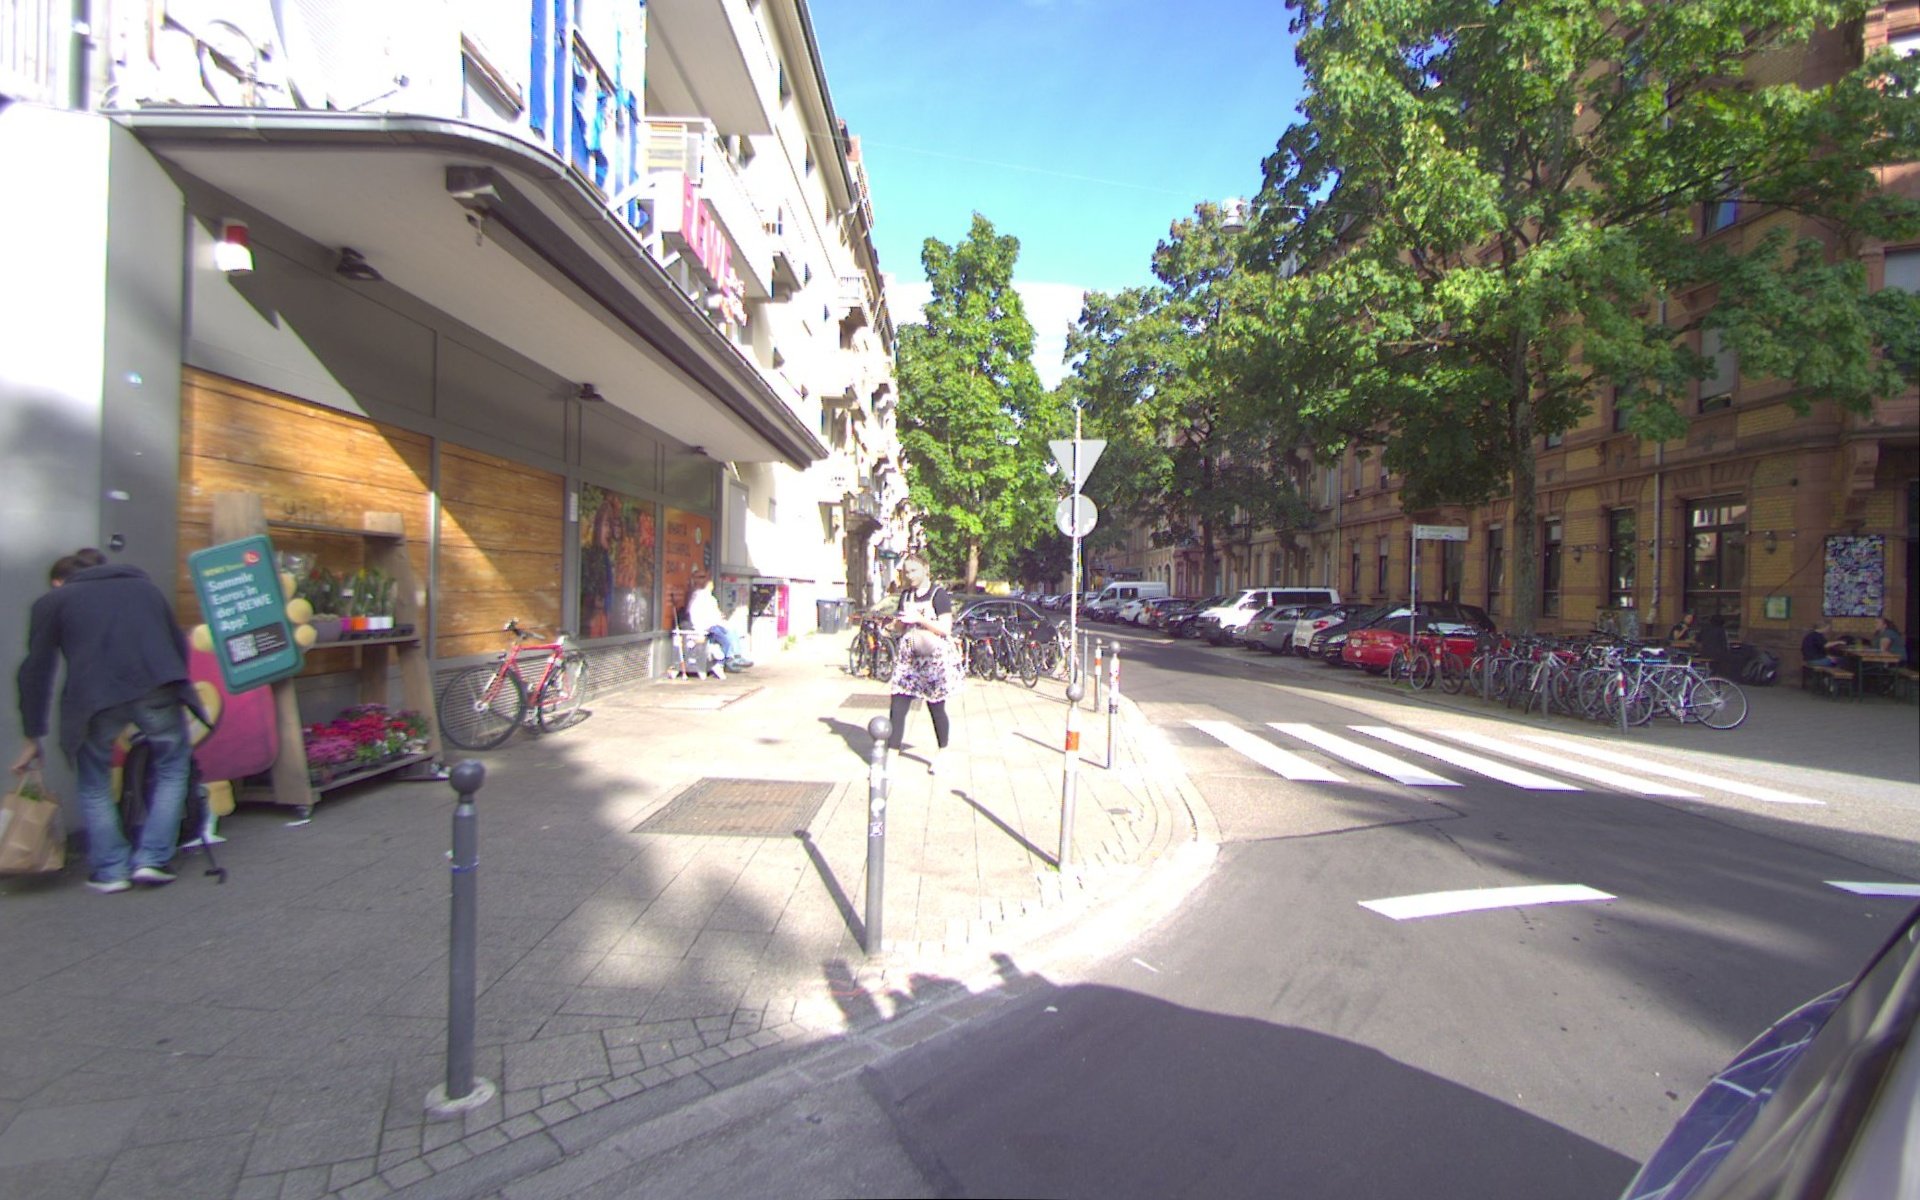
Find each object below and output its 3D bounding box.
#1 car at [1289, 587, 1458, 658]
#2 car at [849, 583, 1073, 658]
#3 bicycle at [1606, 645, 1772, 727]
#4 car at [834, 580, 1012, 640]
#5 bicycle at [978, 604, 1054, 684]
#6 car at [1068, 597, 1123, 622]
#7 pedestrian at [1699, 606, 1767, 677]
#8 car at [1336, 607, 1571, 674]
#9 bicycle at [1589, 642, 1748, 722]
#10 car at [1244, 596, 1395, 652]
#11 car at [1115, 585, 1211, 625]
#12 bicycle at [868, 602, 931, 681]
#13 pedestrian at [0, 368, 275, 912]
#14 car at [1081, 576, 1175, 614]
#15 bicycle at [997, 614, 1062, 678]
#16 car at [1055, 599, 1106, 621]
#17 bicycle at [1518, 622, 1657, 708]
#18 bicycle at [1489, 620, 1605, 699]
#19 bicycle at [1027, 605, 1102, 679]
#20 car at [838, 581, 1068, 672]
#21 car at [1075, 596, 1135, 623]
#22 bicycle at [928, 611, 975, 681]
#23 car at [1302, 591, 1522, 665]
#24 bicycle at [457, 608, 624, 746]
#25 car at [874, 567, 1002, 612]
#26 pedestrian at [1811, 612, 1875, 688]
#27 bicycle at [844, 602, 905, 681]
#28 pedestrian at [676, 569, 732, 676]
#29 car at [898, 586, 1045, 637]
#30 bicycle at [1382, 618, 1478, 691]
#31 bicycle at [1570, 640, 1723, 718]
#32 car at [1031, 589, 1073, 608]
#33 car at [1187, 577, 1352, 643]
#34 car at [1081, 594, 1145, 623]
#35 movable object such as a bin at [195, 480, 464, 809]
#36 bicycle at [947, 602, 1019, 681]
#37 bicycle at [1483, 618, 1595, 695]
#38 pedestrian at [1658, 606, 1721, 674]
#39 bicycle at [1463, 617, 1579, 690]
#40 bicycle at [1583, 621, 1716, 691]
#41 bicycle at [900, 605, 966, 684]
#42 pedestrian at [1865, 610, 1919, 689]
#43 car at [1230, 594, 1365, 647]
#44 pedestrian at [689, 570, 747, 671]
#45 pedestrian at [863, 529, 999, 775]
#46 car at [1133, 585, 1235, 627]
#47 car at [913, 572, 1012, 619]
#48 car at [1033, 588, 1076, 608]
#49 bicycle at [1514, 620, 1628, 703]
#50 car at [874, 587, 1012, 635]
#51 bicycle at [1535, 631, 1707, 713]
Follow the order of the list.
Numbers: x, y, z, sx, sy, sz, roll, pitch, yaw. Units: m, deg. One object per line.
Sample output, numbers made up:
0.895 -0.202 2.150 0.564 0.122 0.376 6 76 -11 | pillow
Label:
10.703 0.575 26.405 3.640 1.743 1.859 1 -1 3 | car
0.068 0.466 22.166 4.575 1.473 1.957 2 -1 -34 | car
9.394 1.092 13.087 1.687 0.981 0.446 0 1 14 | bicycle
-0.985 0.282 27.782 4.534 1.452 1.753 2 -1 -27 | car
0.887 0.683 16.494 0.405 1.190 1.857 2 0 -24 | bicycle
10.200 0.719 76.318 3.924 1.754 1.829 1 -1 0 | car
14.561 0.778 19.079 0.754 1.301 0.629 -1 0 -1 | pedestrian
10.088 0.813 20.862 4.033 1.286 1.568 -1 -1 -1 | car
9.441 1.080 13.541 1.687 0.999 0.446 0 1 14 | bicycle
10.126 0.681 28.710 3.640 1.476 1.668 -1 -1 3 | car
10.239 0.250 51.193 4.372 1.856 1.937 -2 1 -2 | car
-0.974 0.631 15.893 0.412 1.099 1.702 2 1 -23 | bicycle
-3.660 0.140 4.325 1.017 2.038 0.862 2 1 -45 | pedestrian
10.191 -0.287 61.601 5.380 2.229 1.999 1 -1 2 | car
1.179 0.772 17.499 0.482 1.014 1.426 2 0 -24 | bicycle
9.668 0.803 81.418 3.924 1.754 1.829 1 -1 0 | car
9.319 0.944 15.072 1.687 1.216 0.446 0 1 14 | bicycle
9.462 0.944 16.321 1.677 1.216 0.449 -1 1 -7 | bicycle
1.809 0.715 17.836 0.405 1.190 1.857 2 0 -24 | bicycle
-0.147 0.491 19.203 3.915 1.473 1.815 3 1 -20 | car
10.193 0.655 71.143 3.924 1.842 1.829 1 -1 0 | car
-0.157 0.710 16.248 0.405 1.031 1.505 2 0 -13 | bicycle
10.433 0.632 23.673 4.239 1.589 2.003 -1 0 7 | car
-3.582 0.613 8.783 0.574 1.046 1.531 3 1 10 | bicycle
-0.826 -0.390 38.646 4.534 1.515 1.753 2 -1 -27 | car
14.982 0.836 17.178 0.631 1.240 0.511 0 1 8 | pedestrian
-1.354 0.624 15.847 0.412 1.099 1.702 2 1 -23 | bicycle
-3.754 0.317 14.885 0.655 1.525 0.754 1 0 -5 | pedestrian
0.411 0.375 33.439 4.534 1.515 1.753 2 -1 -27 | car
8.371 0.936 18.145 0.571 1.109 2.499 -2 1 1 | bicycle
9.458 1.072 13.981 1.687 0.999 0.446 0 1 14 | bicycle
8.920 -0.173 98.367 3.924 1.754 1.829 1 -1 0 | car
10.321 0.305 33.977 4.816 2.014 2.048 -2 1 -2 | car
10.274 0.580 68.131 4.049 1.898 1.999 1 -1 2 | car
-3.857 0.238 6.356 0.677 1.776 1.550 3 0 -2 | movable object such as a bin
0.350 0.653 16.654 0.405 1.190 1.857 2 0 -24 | bicycle
9.603 0.926 16.793 1.677 1.216 0.449 -1 1 -7 | bicycle
14.423 0.788 20.030 0.754 1.301 0.629 -1 0 -1 | pedestrian
9.596 0.908 17.340 1.682 1.216 0.448 0 1 5 | bicycle
11.592 0.936 17.043 1.768 1.128 0.599 0 1 5 | bicycle
-0.449 0.667 15.917 0.412 1.099 1.702 2 1 -23 | bicycle
15.737 0.821 16.978 0.631 1.274 0.511 0 1 8 | pedestrian
10.453 0.615 31.541 3.640 1.476 1.669 -2 1 3 | car
-3.745 0.306 15.683 0.739 1.525 0.668 1 0 -3 | pedestrian
-0.232 0.375 7.753 0.825 1.775 0.615 1 0 -25 | pedestrian
10.772 0.255 48.855 4.372 1.856 1.937 -2 1 -2 | car
0.127 -0.211 53.029 4.714 2.249 2.150 2 -1 -31 | car
8.933 -0.182 95.926 3.924 1.754 1.829 1 -1 0 | car
9.523 0.945 15.765 1.676 1.216 0.449 -1 1 -13 | bicycle
-0.582 0.389 35.837 4.534 1.515 1.753 2 -1 -27 | car
9.402 1.006 14.457 2.015 1.102 0.446 0 1 14 | bicycle
